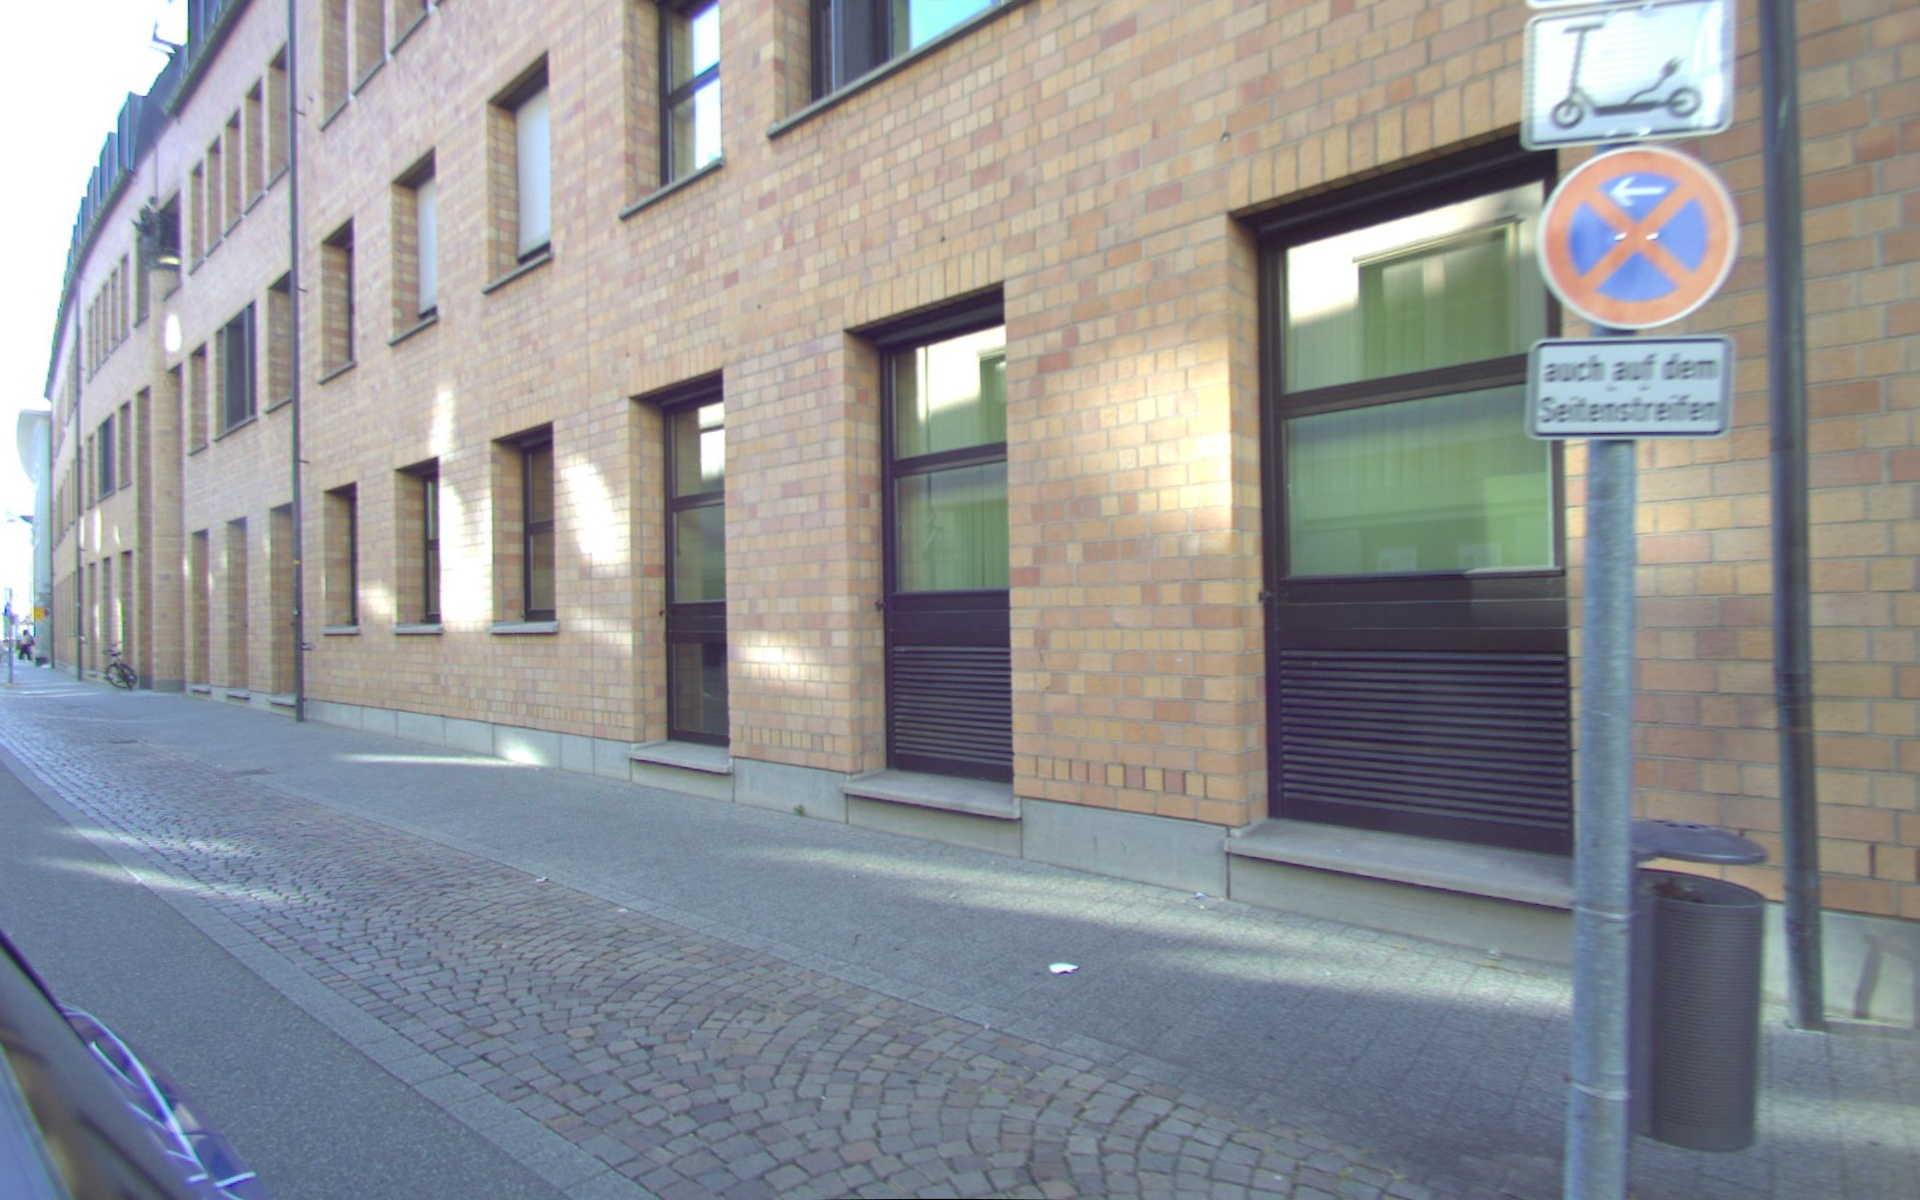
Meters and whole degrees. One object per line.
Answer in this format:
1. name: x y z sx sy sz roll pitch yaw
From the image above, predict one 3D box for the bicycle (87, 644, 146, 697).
1. bicycle: -20.356 1.694 24.415 1.800 1.171 0.626 -3 1 36
